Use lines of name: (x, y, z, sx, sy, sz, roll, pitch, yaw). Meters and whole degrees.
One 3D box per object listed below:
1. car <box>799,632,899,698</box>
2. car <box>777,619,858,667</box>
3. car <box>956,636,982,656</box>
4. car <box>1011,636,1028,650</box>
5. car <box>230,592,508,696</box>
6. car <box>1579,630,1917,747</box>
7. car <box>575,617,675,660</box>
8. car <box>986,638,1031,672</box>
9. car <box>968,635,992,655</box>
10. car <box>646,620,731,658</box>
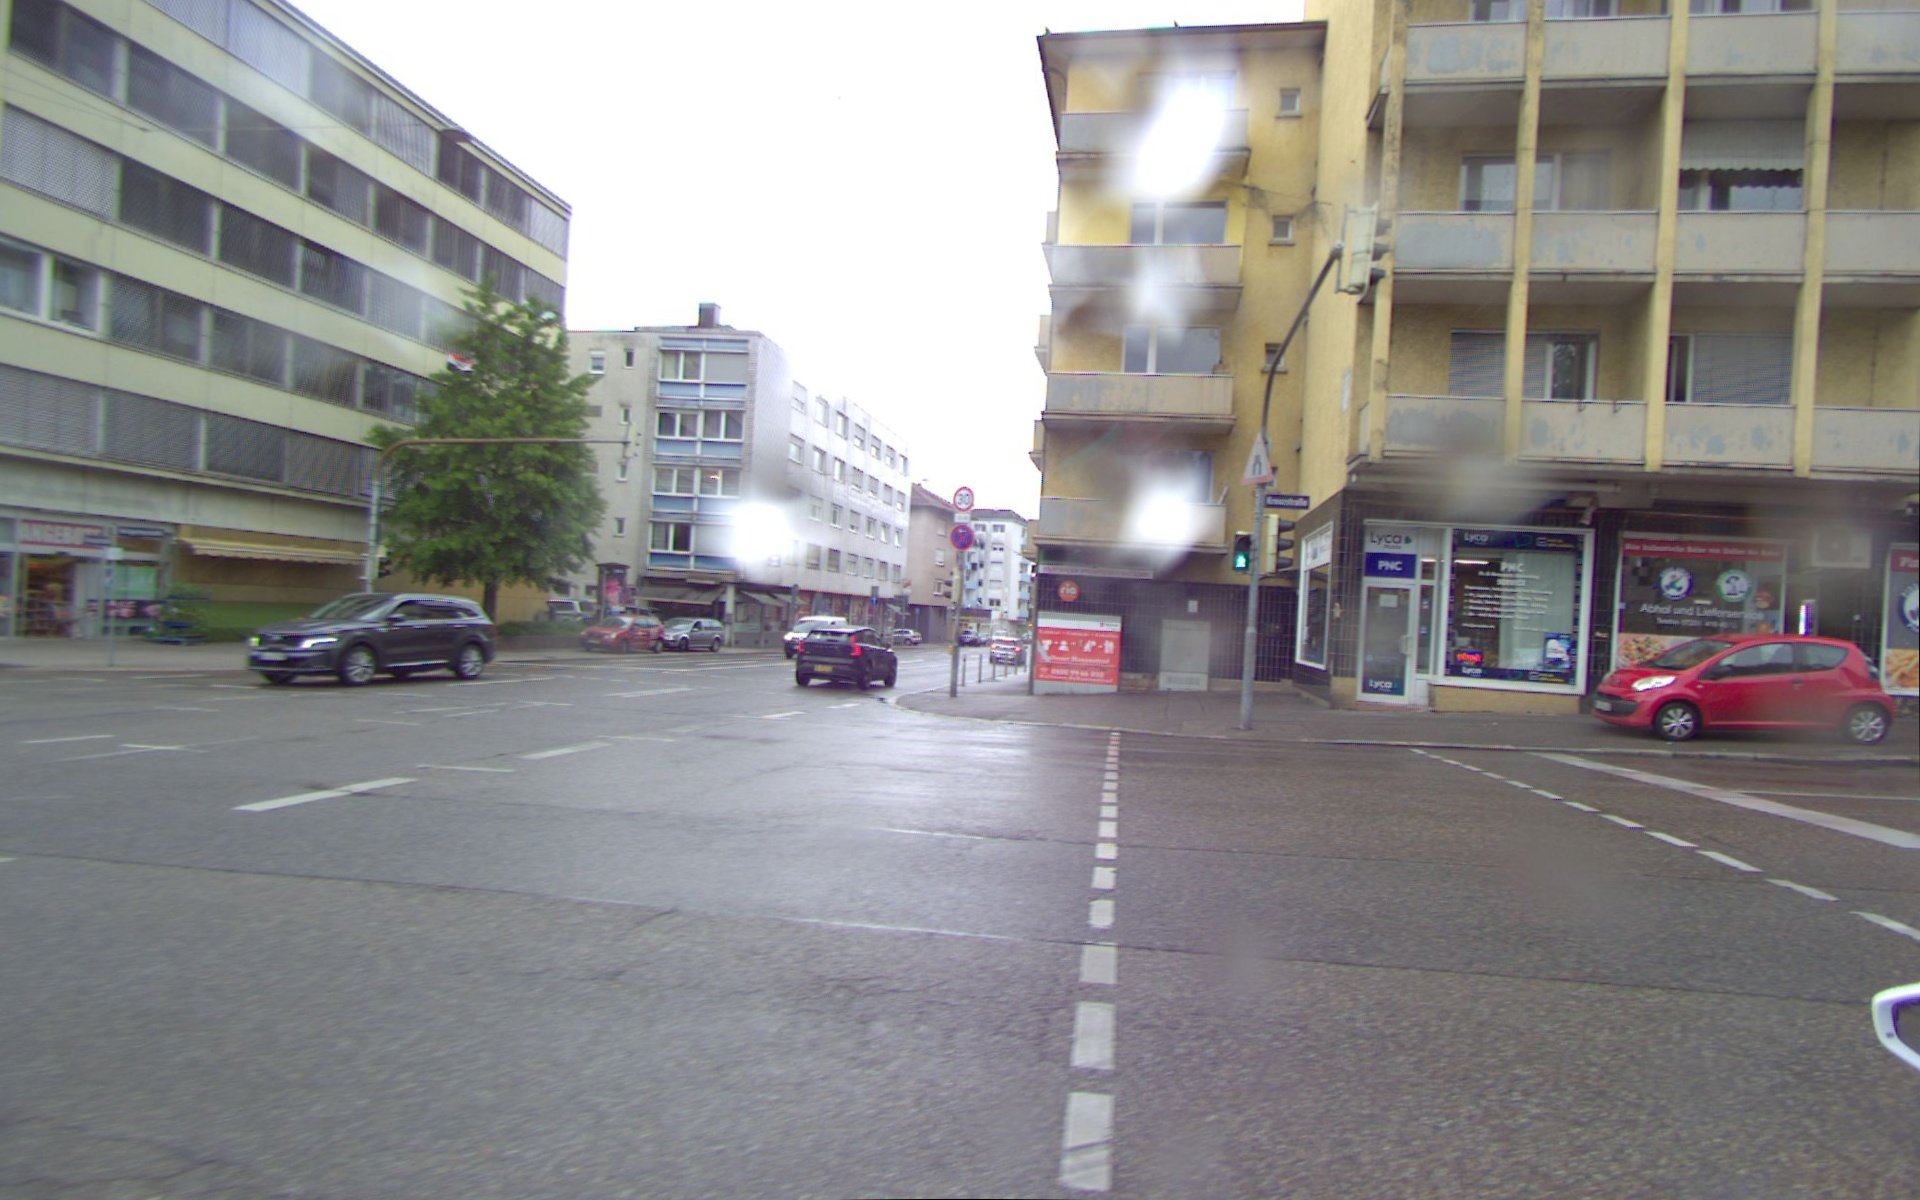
car: (-2.786, 1.622, 26.031, 1.764, 1.530, 4.003, 1, -2, 5)
car: (-6.020, 1.834, 42.960, 1.951, 1.879, 4.234, 1, -2, 13)
car: (0.934, 4.419, 96.338, 1.951, 1.879, 4.234, 1, -2, 8)
car: (8.004, 5.739, 134.582, 1.951, 1.879, 4.234, 1, -2, 8)
car: (-11.112, 0.837, 19.363, 1.951, 1.725, 4.574, 1, -2, 13)
car: (11.162, 1.205, 14.457, 3.462, 1.484, 1.616, 0, 1, 10)
car: (-12.760, 1.489, 38.505, 1.690, 1.445, 3.894, 3, -2, 16)
car: (2.740, 3.044, 55.897, 1.951, 1.725, 4.575, 3, -2, 9)
car: (2.050, 4.583, 102.293, 1.951, 1.879, 4.234, 1, -2, 8)
car: (-11.552, 1.678, 43.043, 1.690, 1.445, 3.894, 3, -2, 16)
